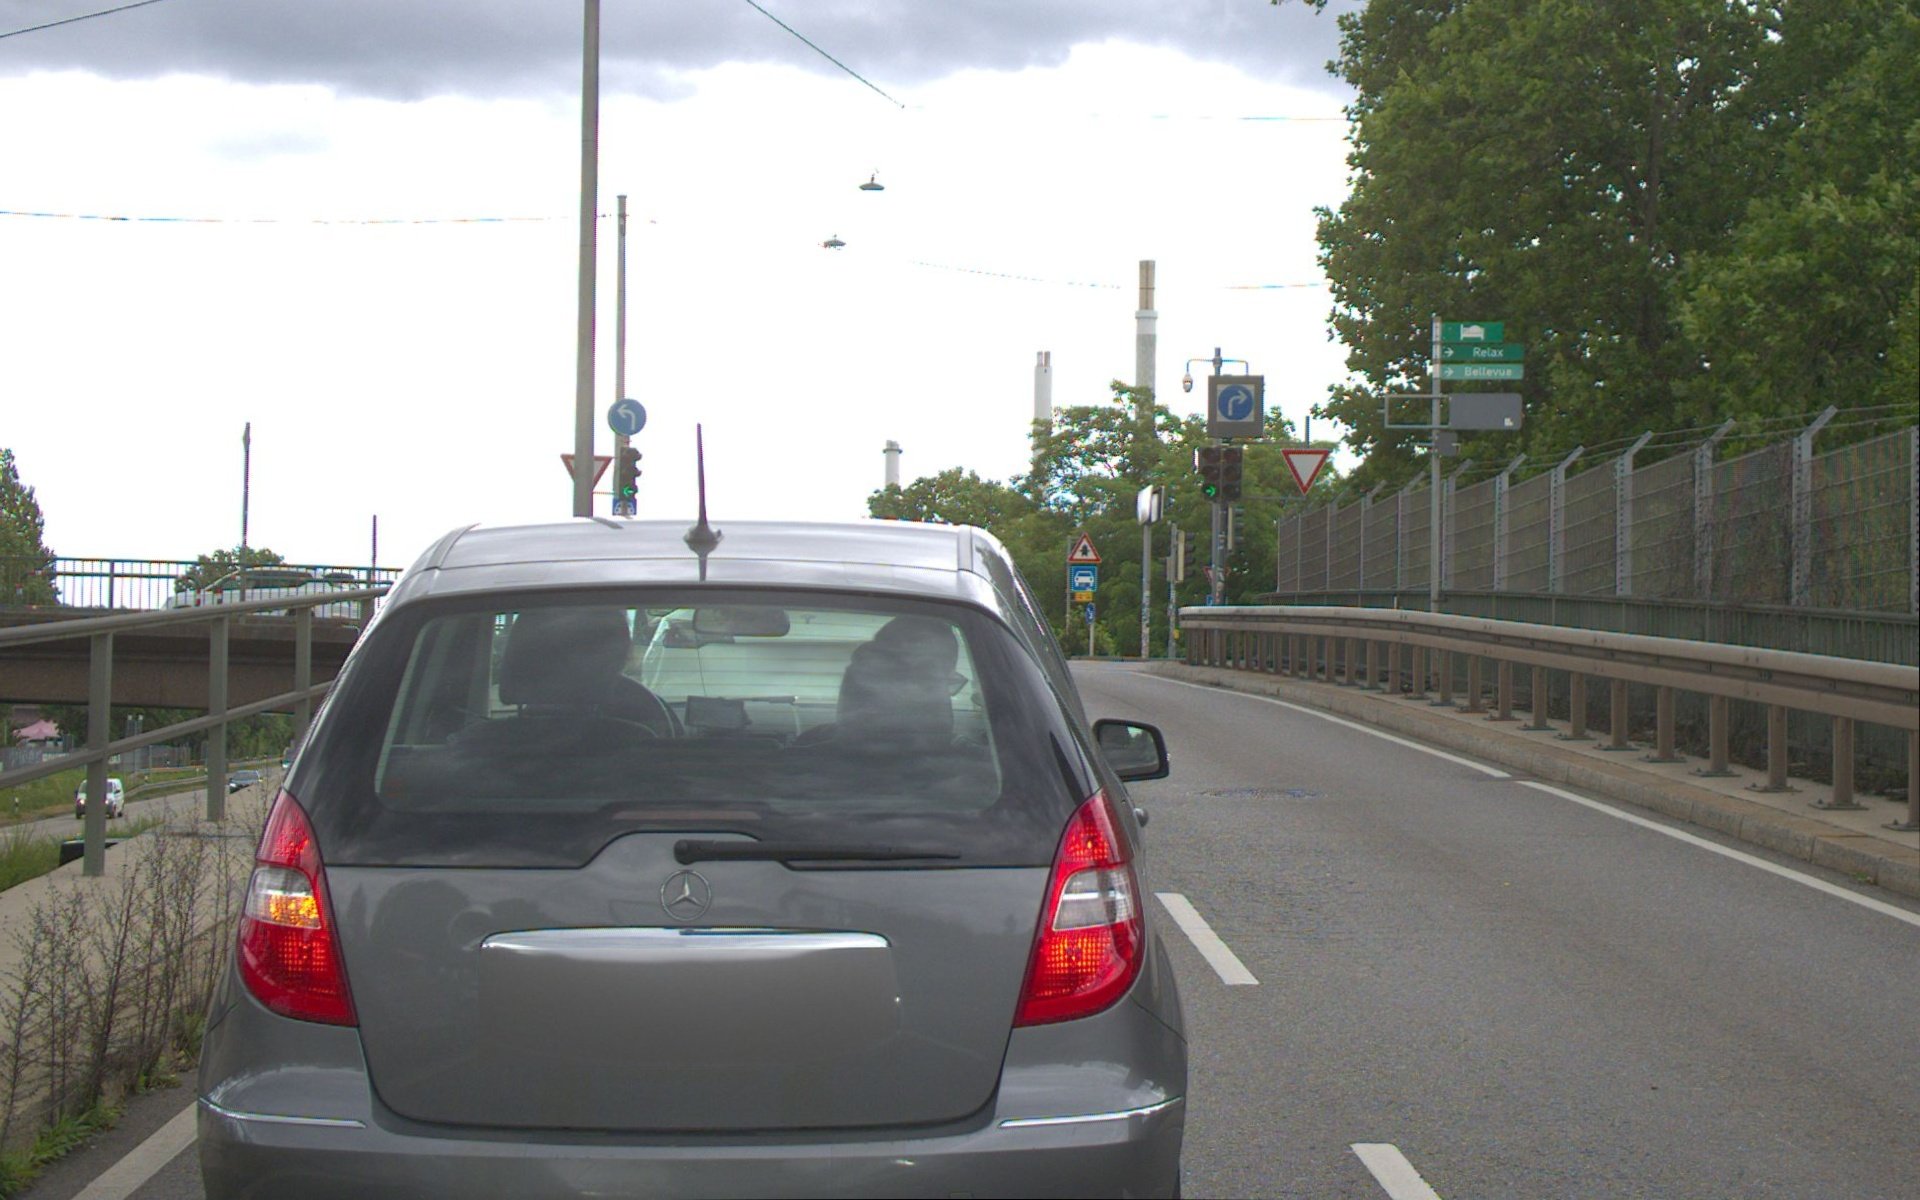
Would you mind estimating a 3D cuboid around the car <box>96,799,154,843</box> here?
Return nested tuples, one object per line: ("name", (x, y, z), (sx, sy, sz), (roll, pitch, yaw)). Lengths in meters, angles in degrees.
("car", (-41.933, 11.105, 172.827), (1.993, 2.060, 5.177), (1, -2, -4))

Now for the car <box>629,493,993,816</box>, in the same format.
("car", (-0.862, 0.271, 20.686), (1.931, 1.711, 4.406), (1, 1, -2))

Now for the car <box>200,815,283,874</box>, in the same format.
("car", (-21.795, 7.405, 104.371), (1.898, 1.616, 4.179), (1, -2, -4))

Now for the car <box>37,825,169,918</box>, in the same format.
("car", (-20.197, 6.383, 81.248), (1.898, 1.996, 4.958), (1, -2, -1))

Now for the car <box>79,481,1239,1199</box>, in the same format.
("car", (-0.512, 0.583, 7.559), (1.857, 1.583, 4.000), (1, 1, -1))

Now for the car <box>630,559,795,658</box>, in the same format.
("car", (-4.541, 0.129, 62.494), (1.930, 1.711, 4.001), (1, 1, -20))

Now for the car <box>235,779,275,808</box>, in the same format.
("car", (-45.120, 12.384, 220.078), (1.915, 1.733, 4.553), (0, -2, -4))

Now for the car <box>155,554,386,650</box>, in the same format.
("car", (-14.127, 0.024, 70.453), (4.204, 1.864, 1.998), (1, 1, 20))
